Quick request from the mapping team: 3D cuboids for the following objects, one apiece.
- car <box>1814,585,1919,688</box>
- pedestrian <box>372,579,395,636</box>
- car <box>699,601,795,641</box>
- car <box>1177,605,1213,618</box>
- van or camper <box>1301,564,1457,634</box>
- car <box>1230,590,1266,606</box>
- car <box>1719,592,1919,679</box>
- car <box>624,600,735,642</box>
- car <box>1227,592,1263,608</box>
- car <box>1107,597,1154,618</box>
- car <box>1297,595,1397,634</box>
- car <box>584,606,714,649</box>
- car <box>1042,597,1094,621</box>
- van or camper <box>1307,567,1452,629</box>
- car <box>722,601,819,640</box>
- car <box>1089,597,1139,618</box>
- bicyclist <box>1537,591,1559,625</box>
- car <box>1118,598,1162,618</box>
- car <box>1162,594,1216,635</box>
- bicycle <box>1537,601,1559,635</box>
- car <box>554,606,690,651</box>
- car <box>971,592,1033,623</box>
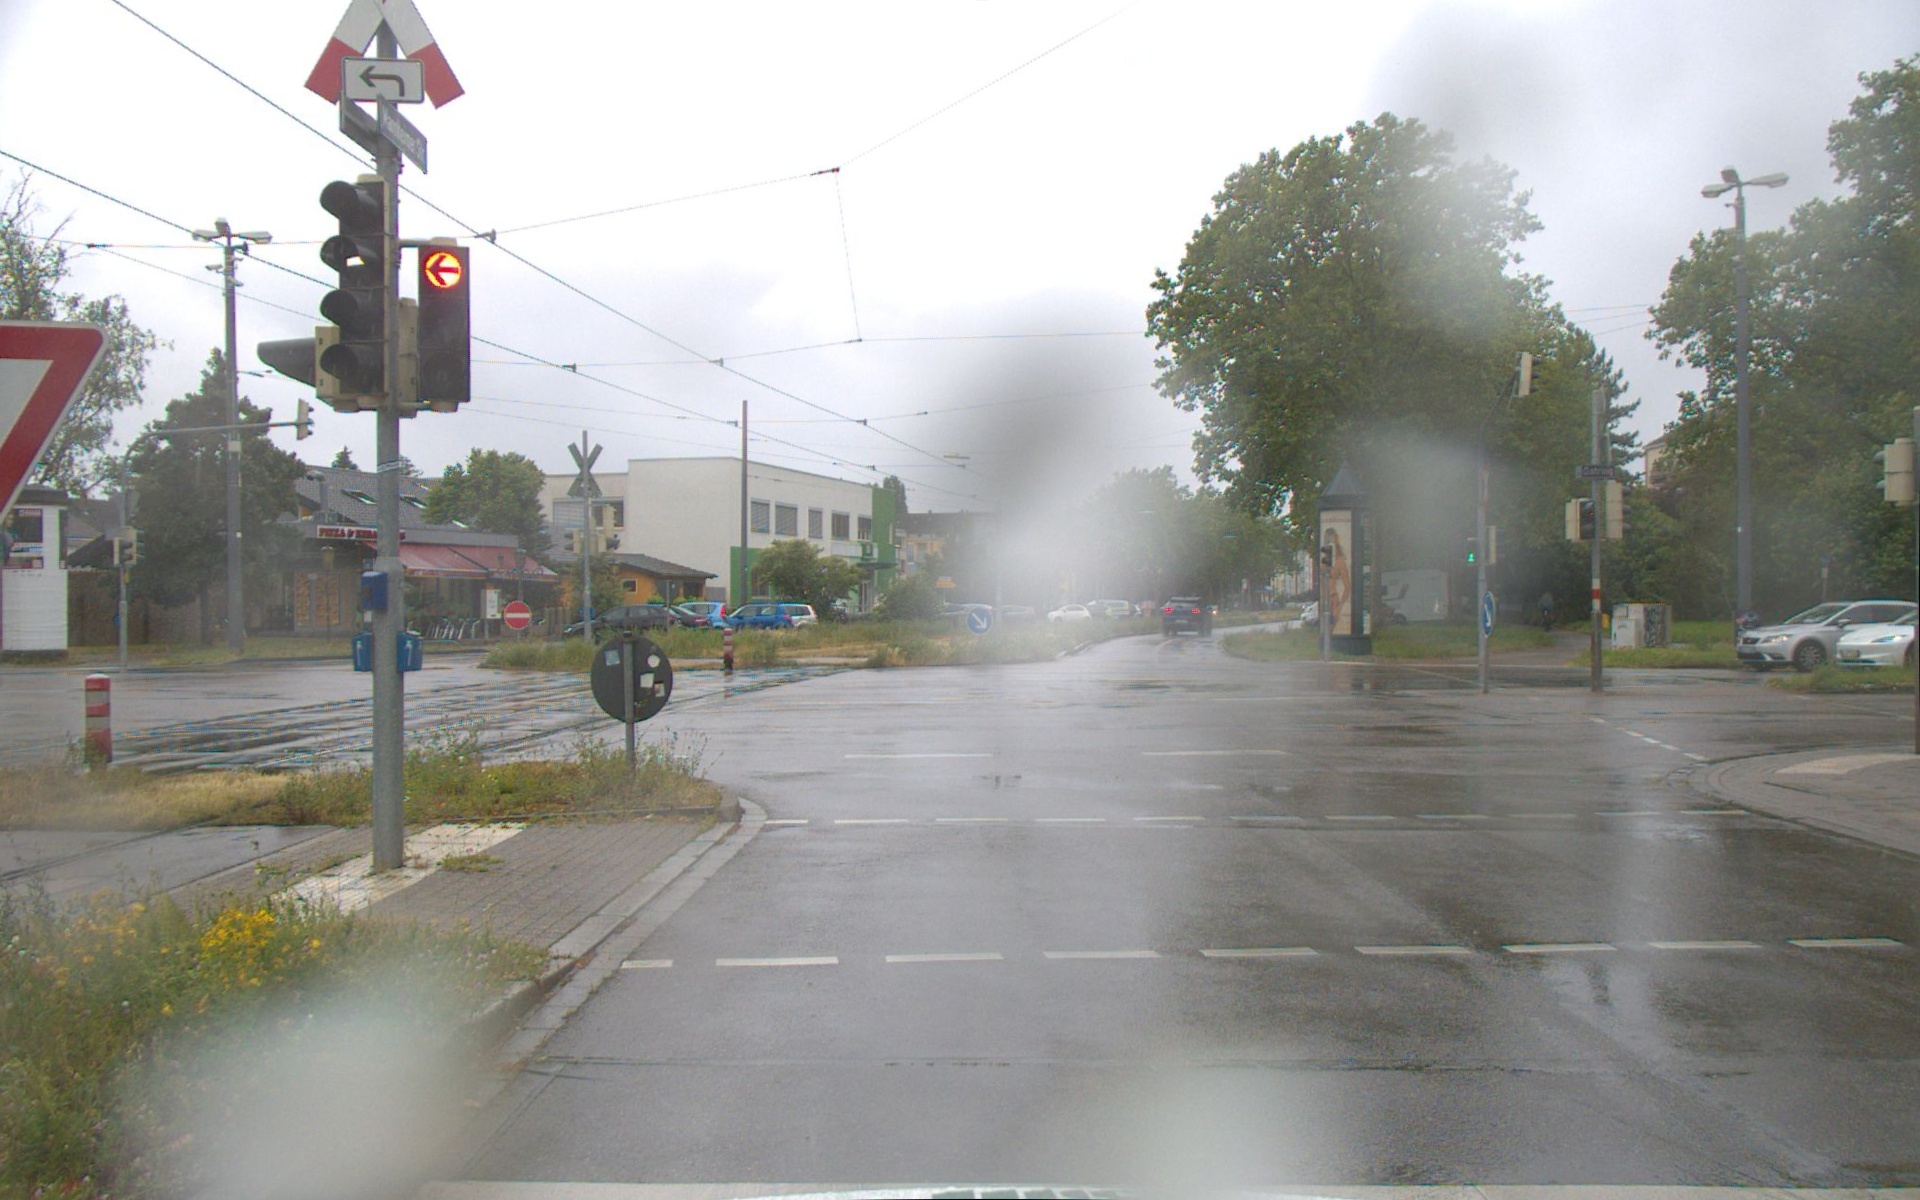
[{"bbox_3d":[18.873,0.703,31.300,4.506,1.860,1.931,1,0,-7],"label":"car"},{"bbox_3d":[-21.012,0.272,60.312,0.713,2.049,0.789,1,-1,-23],"label":"pedestrian"},{"bbox_3d":[-8.986,0.876,69.617,3.916,1.609,1.924,0,0,-12],"label":"car"},{"bbox_3d":[25.522,1.239,179.706,3.806,1.378,1.762,1,0,2],"label":"car"},{"bbox_3d":[20.503,-0.042,80.810,7.168,3.234,3.264,1,0,17],"label":"van or camper"},{"bbox_3d":[35.486,-0.219,203.957,3.909,1.864,1.998,1,0,-5],"label":"car"},{"bbox_3d":[18.459,0.730,34.619,4.309,1.721,1.931,1,0,-7],"label":"car"},{"bbox_3d":[-10.899,0.803,64.451,3.903,1.609,1.859,0,0,4],"label":"car"},{"bbox_3d":[34.278,-0.023,199.204,3.909,1.864,1.998,1,0,-5],"label":"car"},{"bbox_3d":[15.873,0.697,154.073,3.916,1.864,1.994,1,0,-12],"label":"car"},{"bbox_3d":[18.215,0.661,77.844,4.352,1.747,2.000,1,0,21],"label":"car"},{"bbox_3d":[-11.460,1.018,61.200,4.405,1.443,1.858,-2,0,0],"label":"car"},{"bbox_3d":[8.274,0.691,126.798,3.706,1.732,1.832,1,0,-11],"label":"car"},{"bbox_3d":[22.845,-0.110,90.045,7.274,3.234,3.262,1,0,22],"label":"van or camper"},{"bbox_3d":[-8.363,0.877,72.765,4.040,1.670,1.922,0,0,-15],"label":"car"},{"bbox_3d":[13.516,0.655,145.074,3.916,1.789,2.004,1,0,-12],"label":"car"},{"bbox_3d":[25.685,0.337,72.229,0.843,1.450,0.956,1,-1,21],"label":"bicyclist"},{"bbox_3d":[17.346,0.744,159.165,3.909,1.864,1.998,1,0,-5],"label":"car"},{"bbox_3d":[10.084,0.621,72.599,1.768,1.716,3.913,1,0,17],"label":"car"},{"bbox_3d":[25.589,0.791,71.987,0.843,1.450,2.703,1,0,21],"label":"bicycle"},{"bbox_3d":[-11.982,0.994,58.785,4.385,1.443,1.858,-2,0,0],"label":"car"},{"bbox_3d":[2.779,0.502,110.208,3.911,1.920,1.997,1,0,-7],"label":"car"}]
